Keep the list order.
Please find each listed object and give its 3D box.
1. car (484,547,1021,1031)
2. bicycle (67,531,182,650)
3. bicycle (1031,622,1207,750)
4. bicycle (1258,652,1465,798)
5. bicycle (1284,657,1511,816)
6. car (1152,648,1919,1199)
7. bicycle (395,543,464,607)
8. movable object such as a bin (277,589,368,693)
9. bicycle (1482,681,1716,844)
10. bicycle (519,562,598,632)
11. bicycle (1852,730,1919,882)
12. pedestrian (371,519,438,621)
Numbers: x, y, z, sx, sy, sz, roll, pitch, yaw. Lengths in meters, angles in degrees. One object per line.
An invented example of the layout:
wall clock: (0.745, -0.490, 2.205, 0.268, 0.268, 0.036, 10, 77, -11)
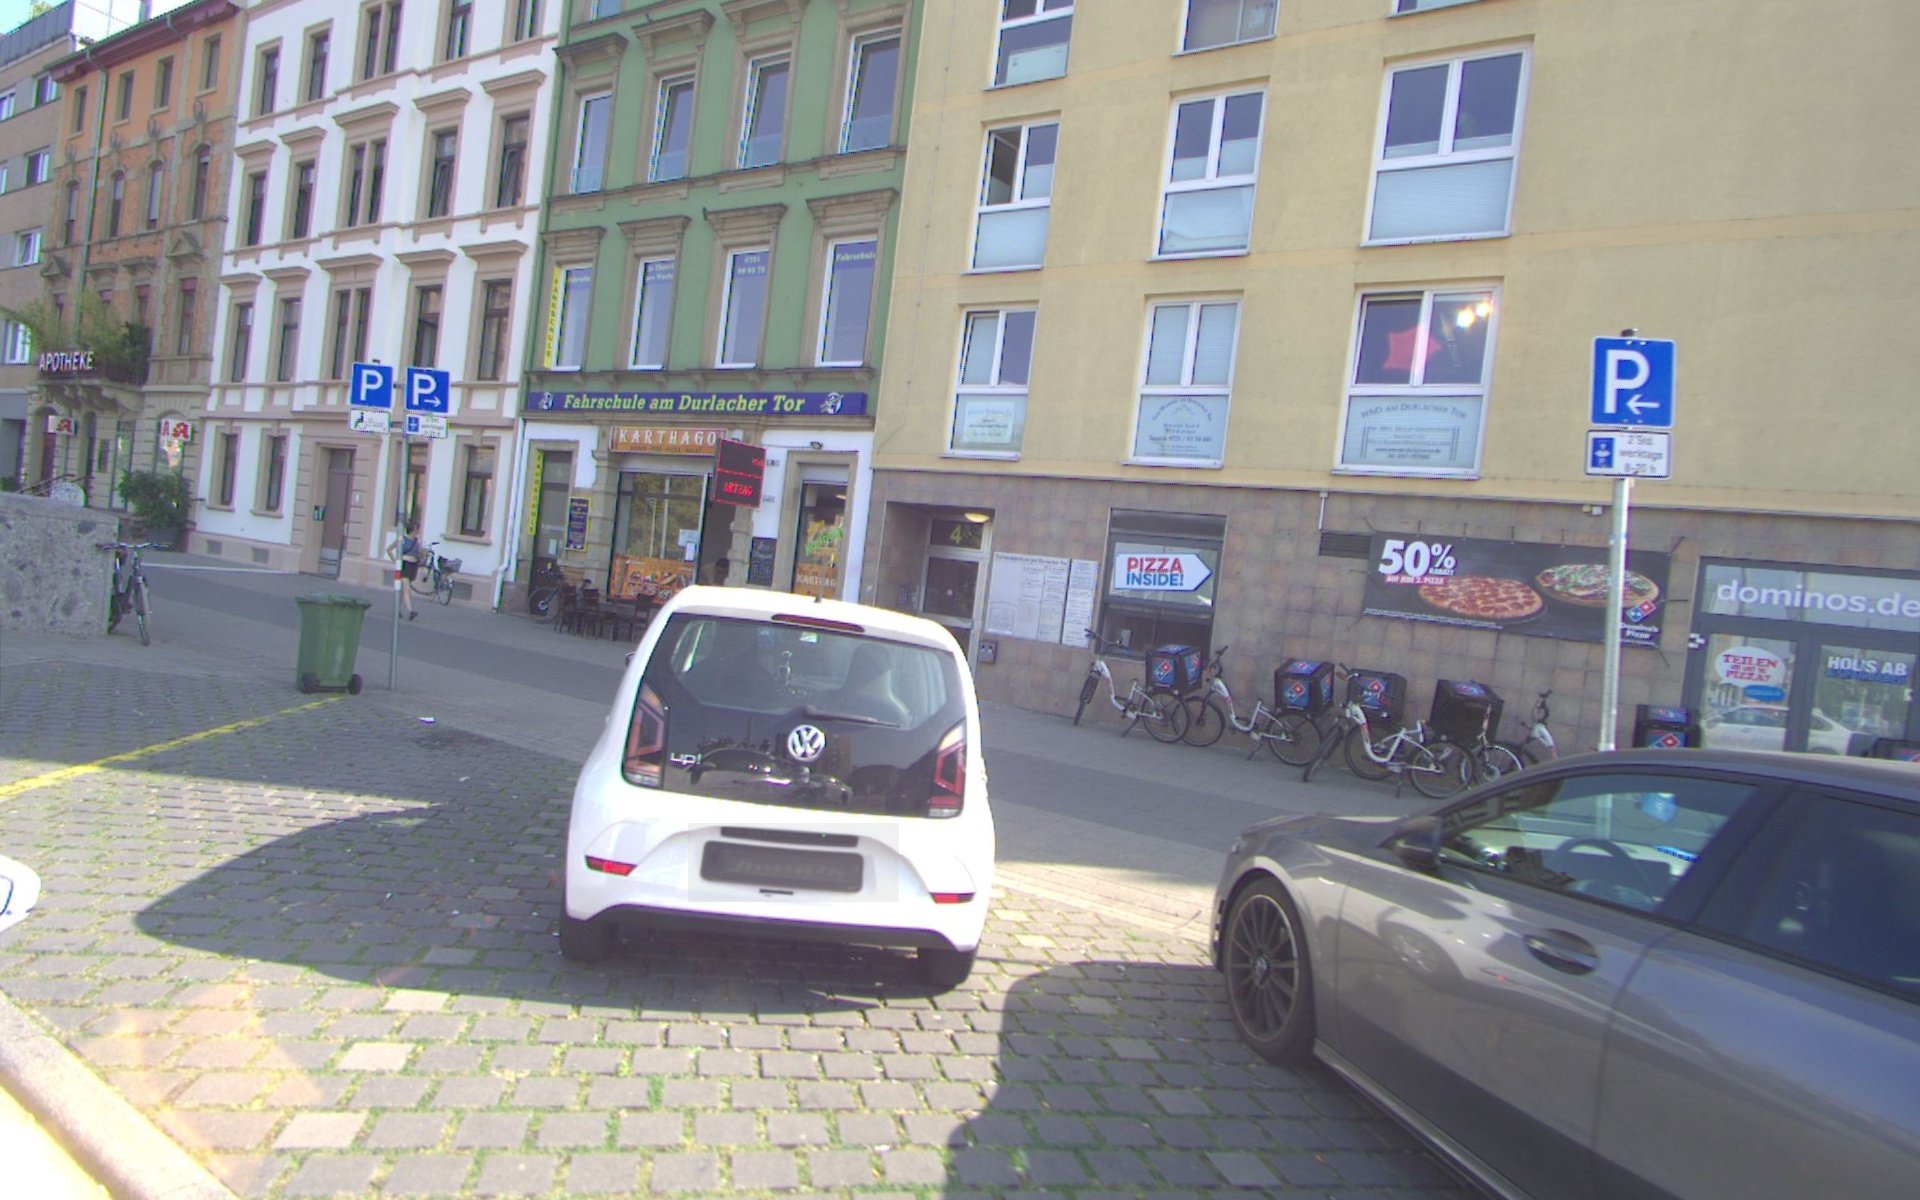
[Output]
car: (-0.961, 0.649, 5.078, 1.596, 1.482, 3.522, 7, 0, -10)
bicycle: (-9.424, -0.122, 11.326, 1.760, 1.148, 0.384, 7, 1, 32)
bicycle: (1.969, 1.043, 12.594, 1.964, 1.277, 0.603, 7, 1, 31)
bicycle: (4.459, 1.350, 11.256, 1.961, 1.277, 0.604, 7, 1, 23)
bicycle: (4.479, 1.363, 10.418, 1.961, 1.277, 0.604, 7, 1, 23)
car: (2.252, 1.074, 2.694, 1.817, 1.440, 4.401, 7, 0, -10)
bicycle: (-11.092, -0.529, 21.003, 1.691, 1.148, 0.384, 7, 1, 32)
movable object such as a bin: (-6.090, 0.392, 9.613, 0.528, 0.914, 0.490, 7, 1, 34)
bicycle: (6.409, 1.593, 10.203, 1.818, 1.277, 0.603, 7, 1, 31)
bicycle: (-7.661, -0.065, 19.167, 1.691, 1.148, 0.384, 7, 1, 32)
bicycle: (9.085, 1.934, 8.887, 1.609, 1.277, 0.469, 7, 1, 31)
pedestrian: (-9.591, -0.518, 17.376, 0.725, 1.650, 0.609, 7, 1, 32)
